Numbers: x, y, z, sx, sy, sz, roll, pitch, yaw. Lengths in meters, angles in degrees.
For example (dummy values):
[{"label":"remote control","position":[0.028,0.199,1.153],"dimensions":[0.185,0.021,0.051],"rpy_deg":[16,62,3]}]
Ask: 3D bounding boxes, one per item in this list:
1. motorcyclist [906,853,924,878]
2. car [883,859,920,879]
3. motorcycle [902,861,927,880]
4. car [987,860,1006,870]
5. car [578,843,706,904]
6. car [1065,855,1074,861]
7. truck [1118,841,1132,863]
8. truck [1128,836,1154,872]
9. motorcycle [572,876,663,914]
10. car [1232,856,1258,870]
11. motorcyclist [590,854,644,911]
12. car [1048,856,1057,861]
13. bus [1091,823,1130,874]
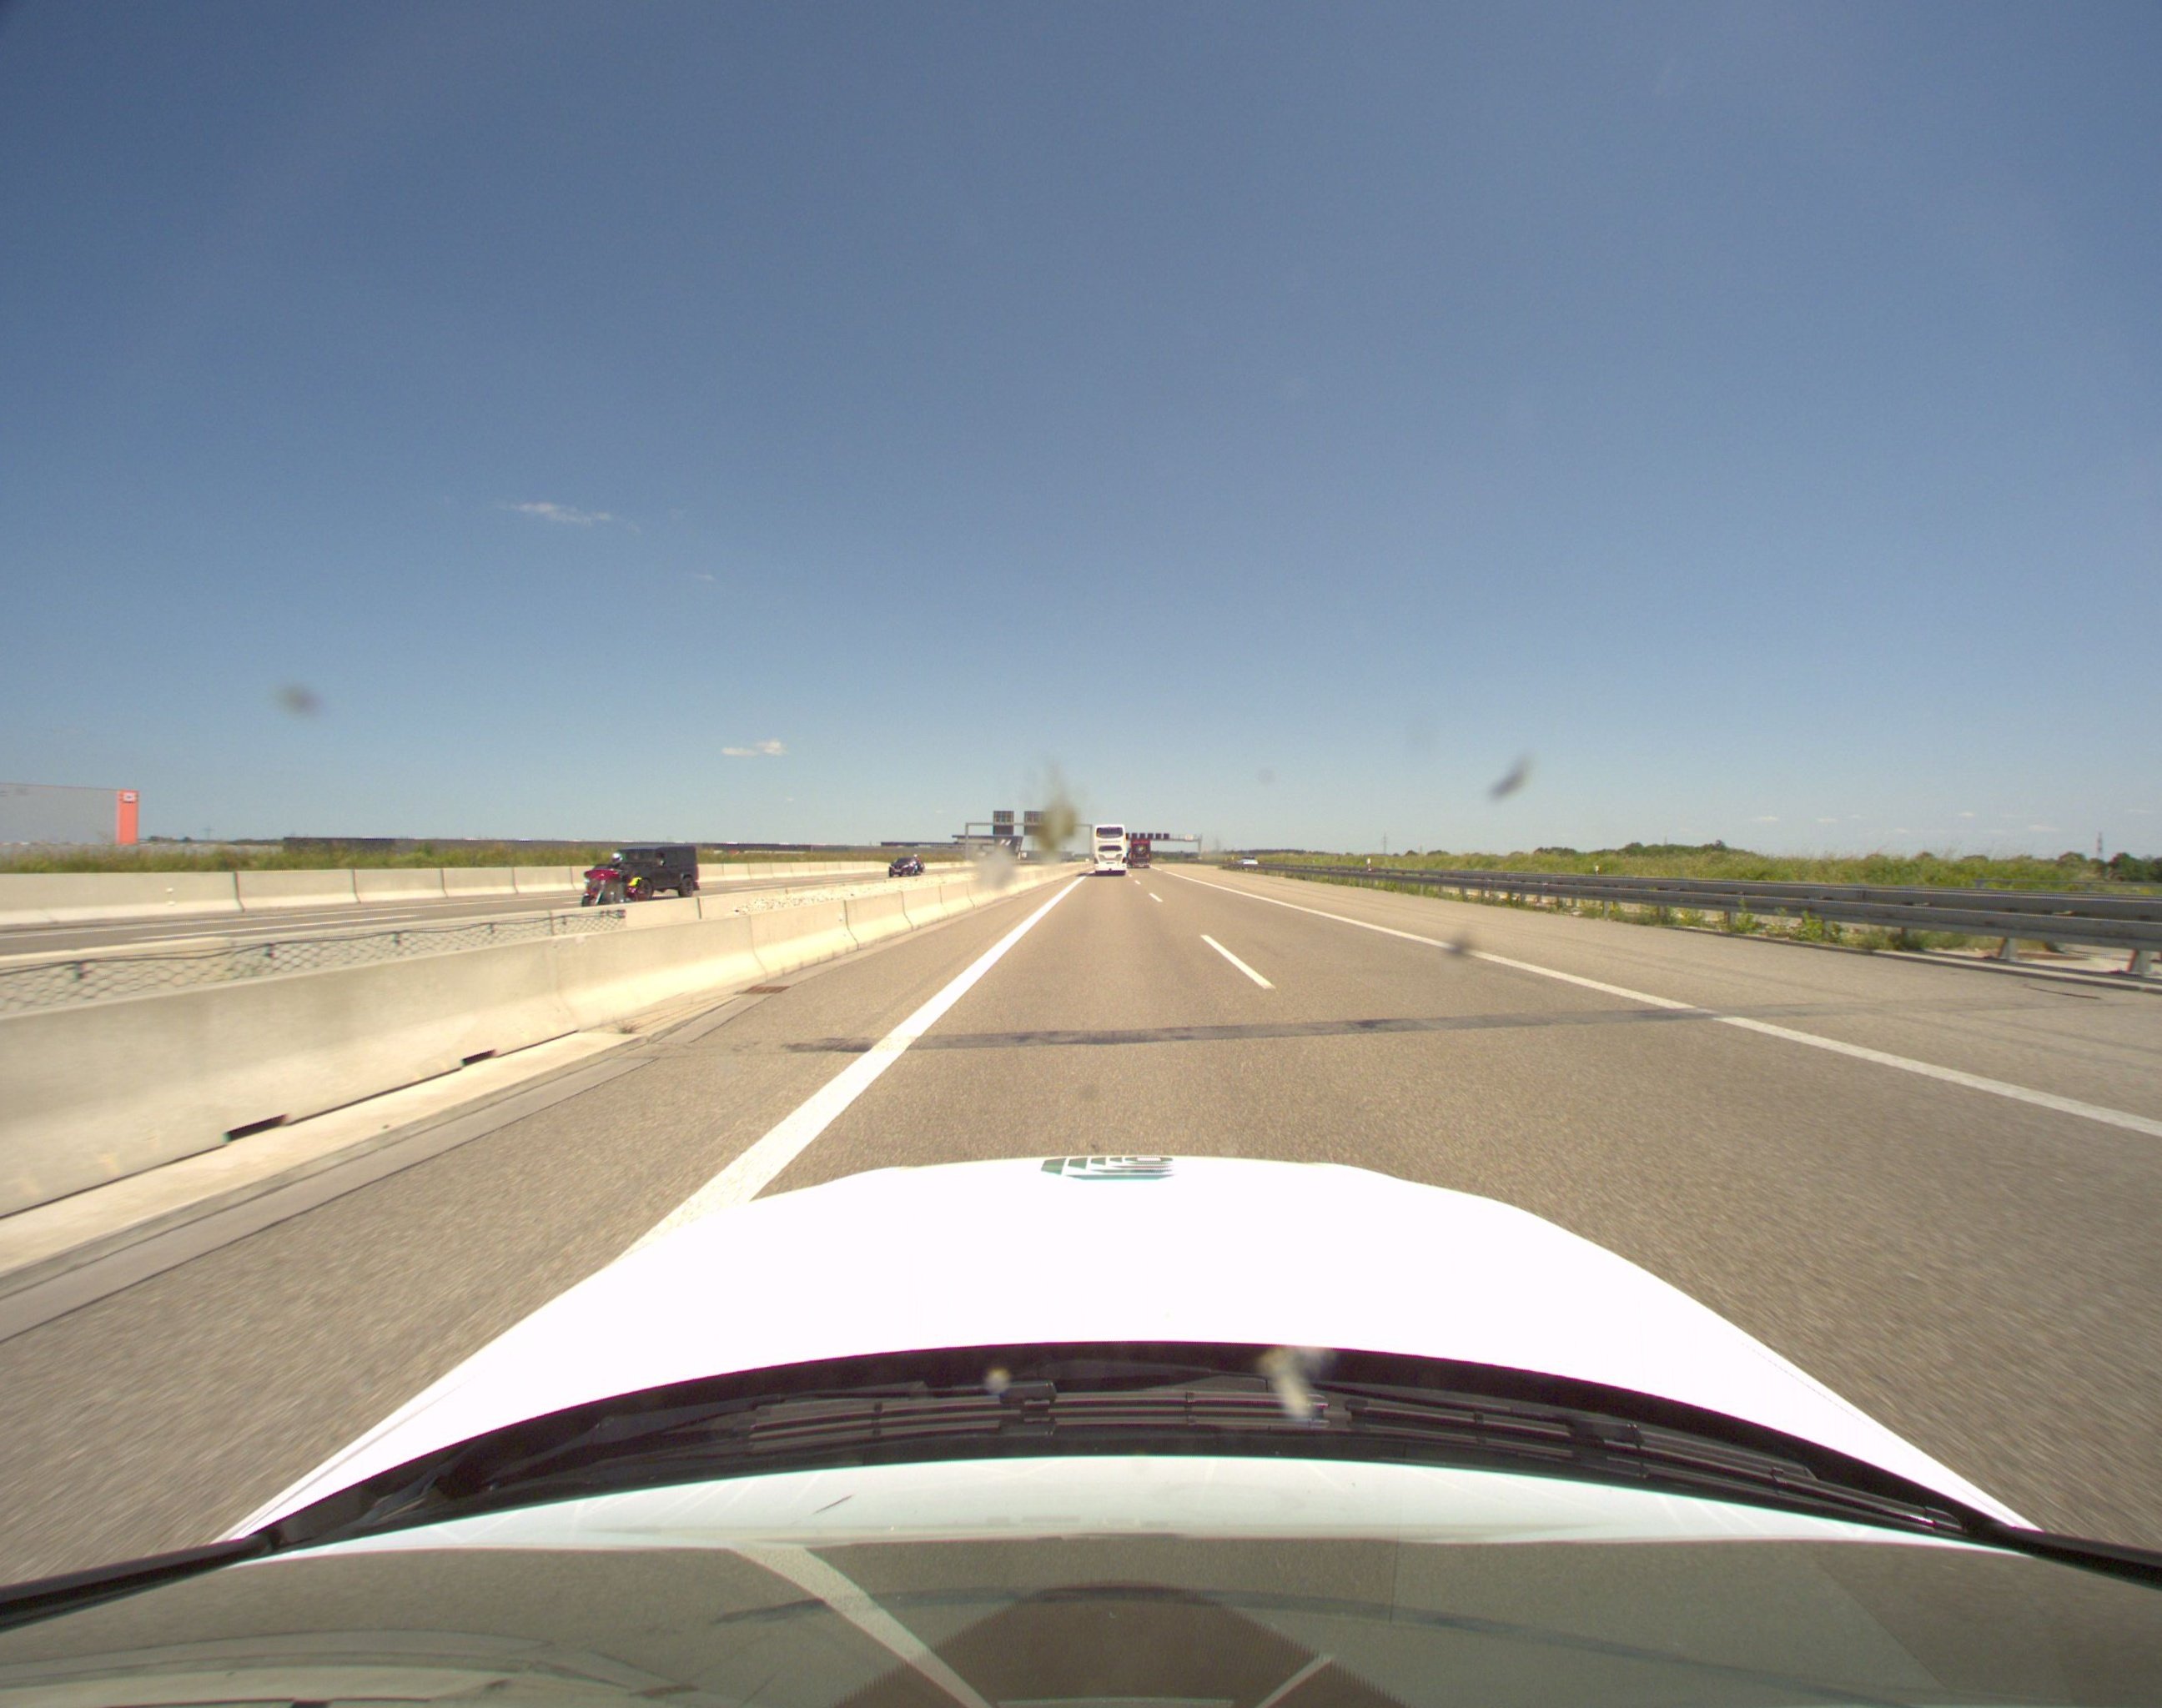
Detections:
[{"label":"motorcyclist","position":[-10.974,0.743,53.896],"dimensions":[0.916,1.621,1.089],"rpy_deg":[-1,0,3]},{"label":"car","position":[-14.580,1.180,66.432],"dimensions":[1.863,1.491,5.138],"rpy_deg":[-1,0,0]},{"label":"motorcycle","position":[-11.002,1.084,53.982],"dimensions":[0.954,1.169,2.724],"rpy_deg":[-1,0,3]},{"label":"car","position":[-12.169,1.546,117.382],"dimensions":[1.985,1.379,4.367],"rpy_deg":[-1,0,3]},{"label":"car","position":[-15.829,0.665,29.693],"dimensions":[1.876,2.017,4.739],"rpy_deg":[-1,0,3]},{"label":"car","position":[-2.851,1.053,198.245],"dimensions":[1.836,1.382,4.757],"rpy_deg":[-1,0,4]},{"label":"truck","position":[7.921,-0.370,148.019],"dimensions":[2.428,3.789,6.496],"rpy_deg":[-1,0,2]},{"label":"truck","position":[8.436,0.192,113.482],"dimensions":[3.364,4.464,13.581],"rpy_deg":[0,-2,5]},{"label":"motorcycle","position":[-12.576,1.093,22.227],"dimensions":[0.772,0.902,2.708],"rpy_deg":[-1,0,4]},{"label":"car","position":[18.790,1.064,93.483],"dimensions":[1.887,1.529,4.257],"rpy_deg":[-1,0,-3]},{"label":"motorcyclist","position":[-12.580,0.754,22.114],"dimensions":[0.914,1.497,0.924],"rpy_deg":[-1,0,3]},{"label":"car","position":[-6.952,1.050,199.967],"dimensions":[1.884,1.329,3.986],"rpy_deg":[-1,0,1]},{"label":"bus","position":[2.404,-0.424,67.672],"dimensions":[2.969,3.975,9.107],"rpy_deg":[-1,0,1]}]
